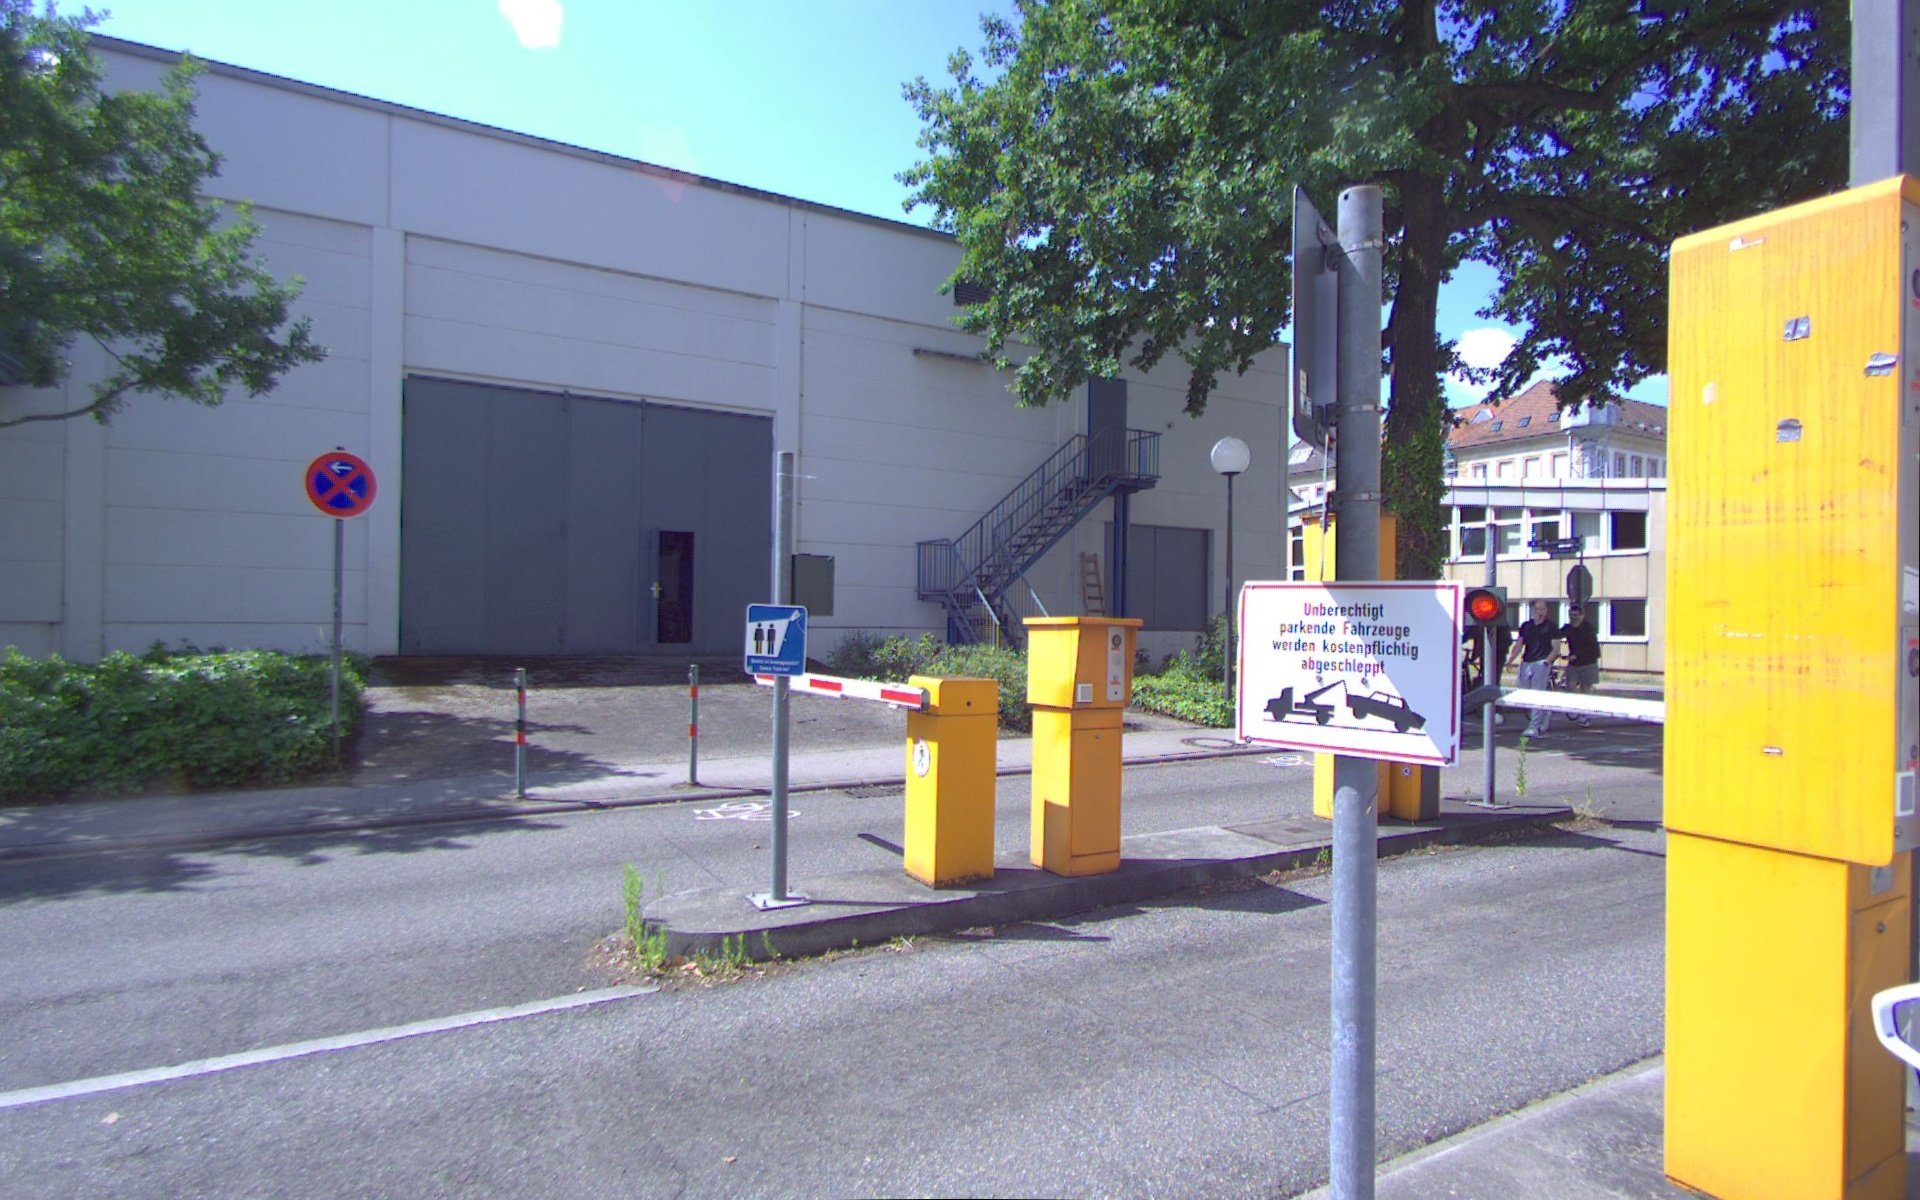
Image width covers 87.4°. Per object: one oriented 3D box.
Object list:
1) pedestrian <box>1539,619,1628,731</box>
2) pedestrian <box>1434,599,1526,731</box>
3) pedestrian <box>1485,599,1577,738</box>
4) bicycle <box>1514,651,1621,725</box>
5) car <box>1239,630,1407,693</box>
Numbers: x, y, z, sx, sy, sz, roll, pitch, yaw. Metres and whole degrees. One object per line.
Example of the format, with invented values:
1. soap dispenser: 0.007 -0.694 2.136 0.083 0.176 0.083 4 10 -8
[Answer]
1. pedestrian: 9.305 1.087 15.002 0.796 1.607 0.850 1 -1 -30
2. pedestrian: 7.633 0.923 14.753 1.044 1.840 0.802 -1 -1 42
3. pedestrian: 7.816 0.908 13.750 0.990 1.833 0.701 1 -1 -31
4. bicycle: 9.592 1.361 15.832 1.878 1.063 0.642 1 -1 -31
5. car: 9.385 1.528 25.925 4.249 1.486 1.820 1 -1 -31
